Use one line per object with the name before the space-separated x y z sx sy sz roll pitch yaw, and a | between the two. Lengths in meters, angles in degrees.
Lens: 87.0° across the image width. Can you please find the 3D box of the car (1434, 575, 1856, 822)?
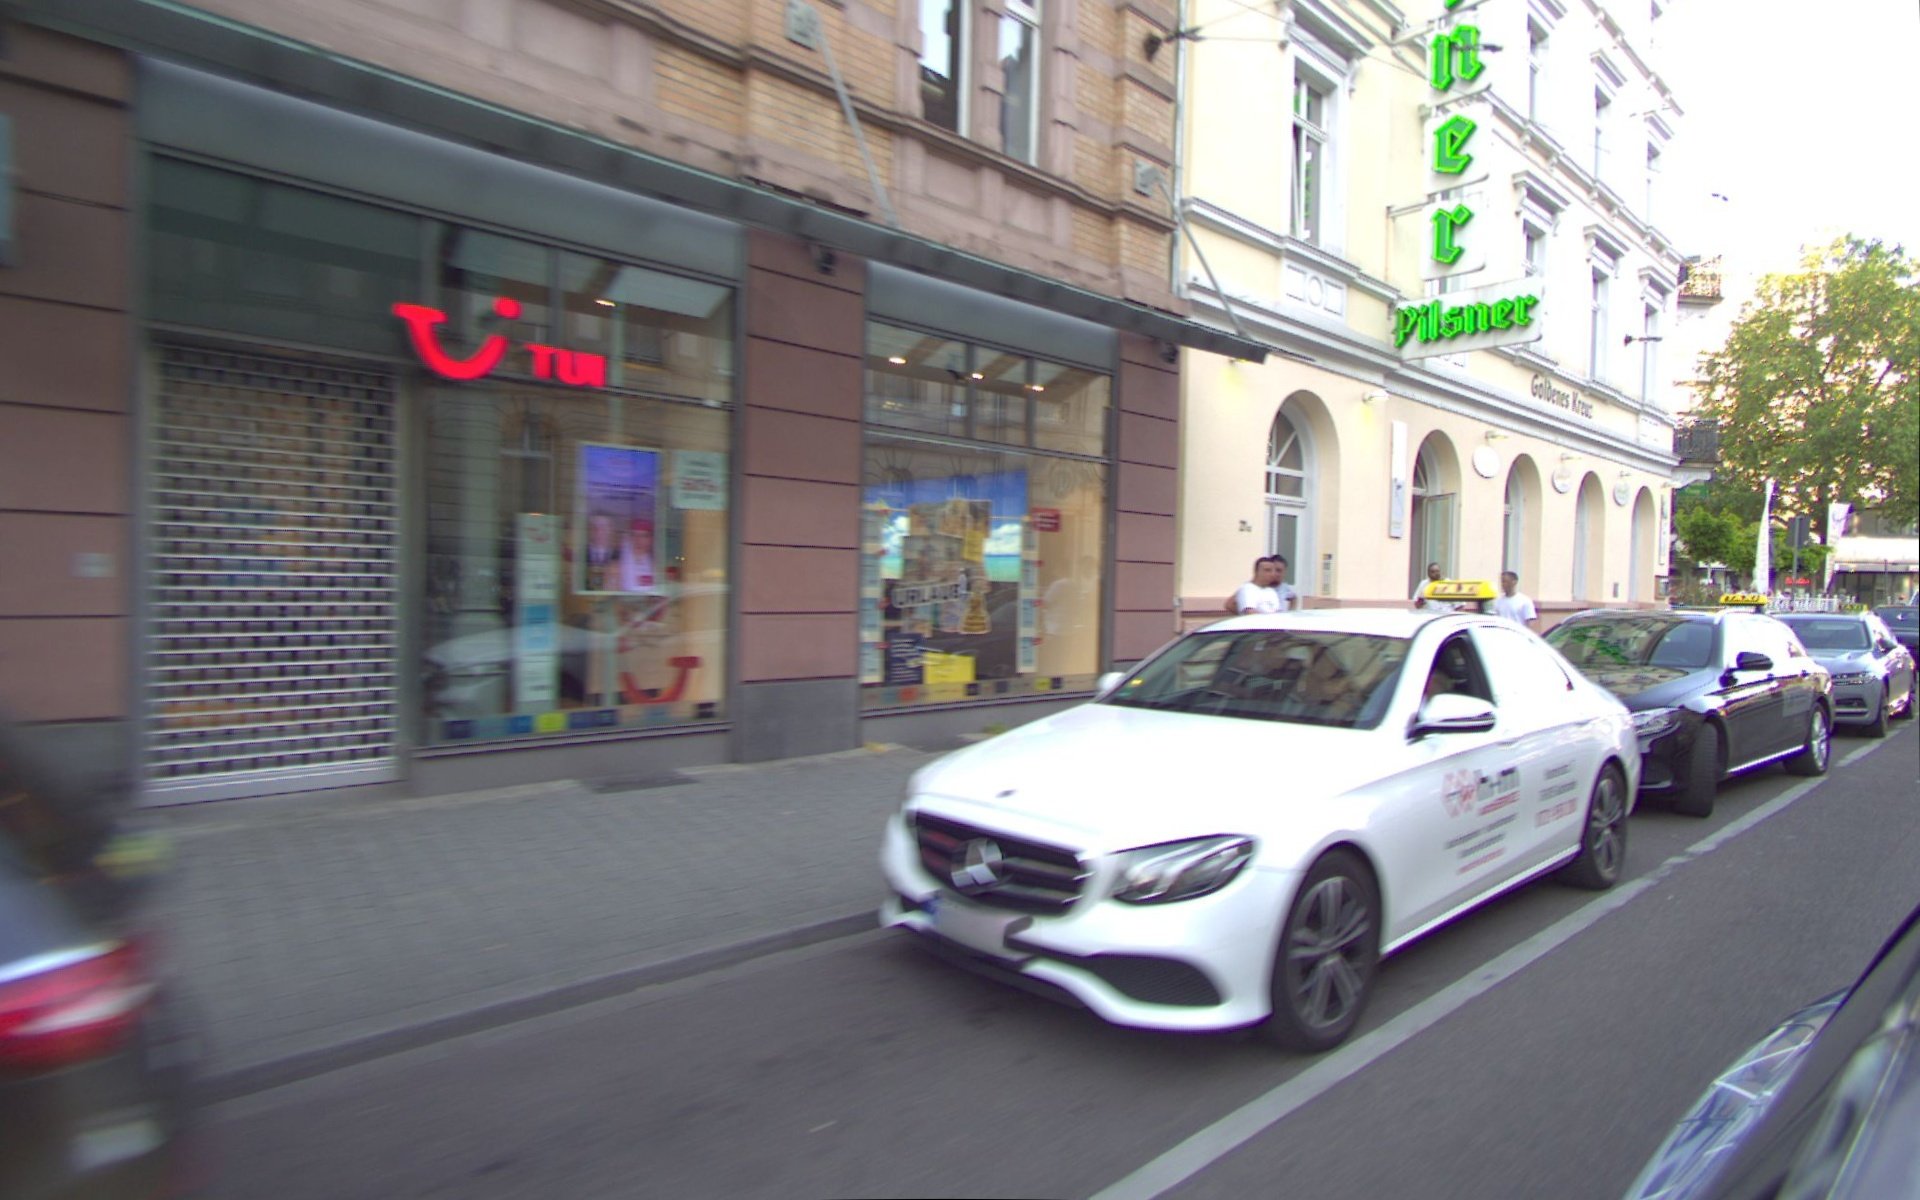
car | 5.995 0.634 8.653 4.361 1.610 1.737 -1 -1 -38

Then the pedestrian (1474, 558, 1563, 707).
pedestrian | 6.731 0.382 12.216 0.476 1.709 0.623 2 4 -25

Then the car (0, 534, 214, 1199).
car | -3.405 0.676 0.533 4.737 1.495 1.729 -1 0 -42

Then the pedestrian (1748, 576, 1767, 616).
pedestrian | 31.691 -0.150 40.201 0.523 1.578 0.490 1 0 -41

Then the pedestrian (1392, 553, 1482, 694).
pedestrian | 6.129 0.280 13.014 0.542 1.709 0.761 1 5 -41

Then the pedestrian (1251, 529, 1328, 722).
pedestrian | 3.181 0.233 9.754 0.653 1.790 0.373 0 3 -45

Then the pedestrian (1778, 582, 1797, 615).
pedestrian | 34.043 -0.057 41.631 0.482 1.313 0.531 1 0 -41

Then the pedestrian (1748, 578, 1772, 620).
pedestrian | 25.418 -0.032 32.147 0.528 1.312 0.485 1 0 34

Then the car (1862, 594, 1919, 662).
car | 22.398 0.612 23.430 4.469 1.407 1.700 -1 3 -42

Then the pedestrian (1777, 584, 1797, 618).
pedestrian | 33.344 0.034 40.801 0.482 1.350 0.531 1 0 -41

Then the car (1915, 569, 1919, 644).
car | 29.406 0.198 29.437 5.124 2.093 1.856 0 2 -41

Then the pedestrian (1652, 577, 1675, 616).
pedestrian | 24.877 -0.130 35.778 0.482 1.350 0.531 1 0 -41

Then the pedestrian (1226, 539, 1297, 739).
pedestrian | 2.778 0.341 9.326 0.448 1.790 0.373 0 3 -45

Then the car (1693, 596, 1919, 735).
car | 11.282 0.702 13.229 4.612 1.494 1.809 -1 0 -42

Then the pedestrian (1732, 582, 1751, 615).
pedestrian | 32.379 -0.066 41.937 0.482 1.313 0.531 1 0 -41

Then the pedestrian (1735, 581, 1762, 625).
pedestrian | 23.885 0.095 30.651 0.482 1.312 0.531 1 0 -41

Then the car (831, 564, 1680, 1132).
car | 1.844 0.657 4.981 4.781 1.530 1.735 -1 0 -42
